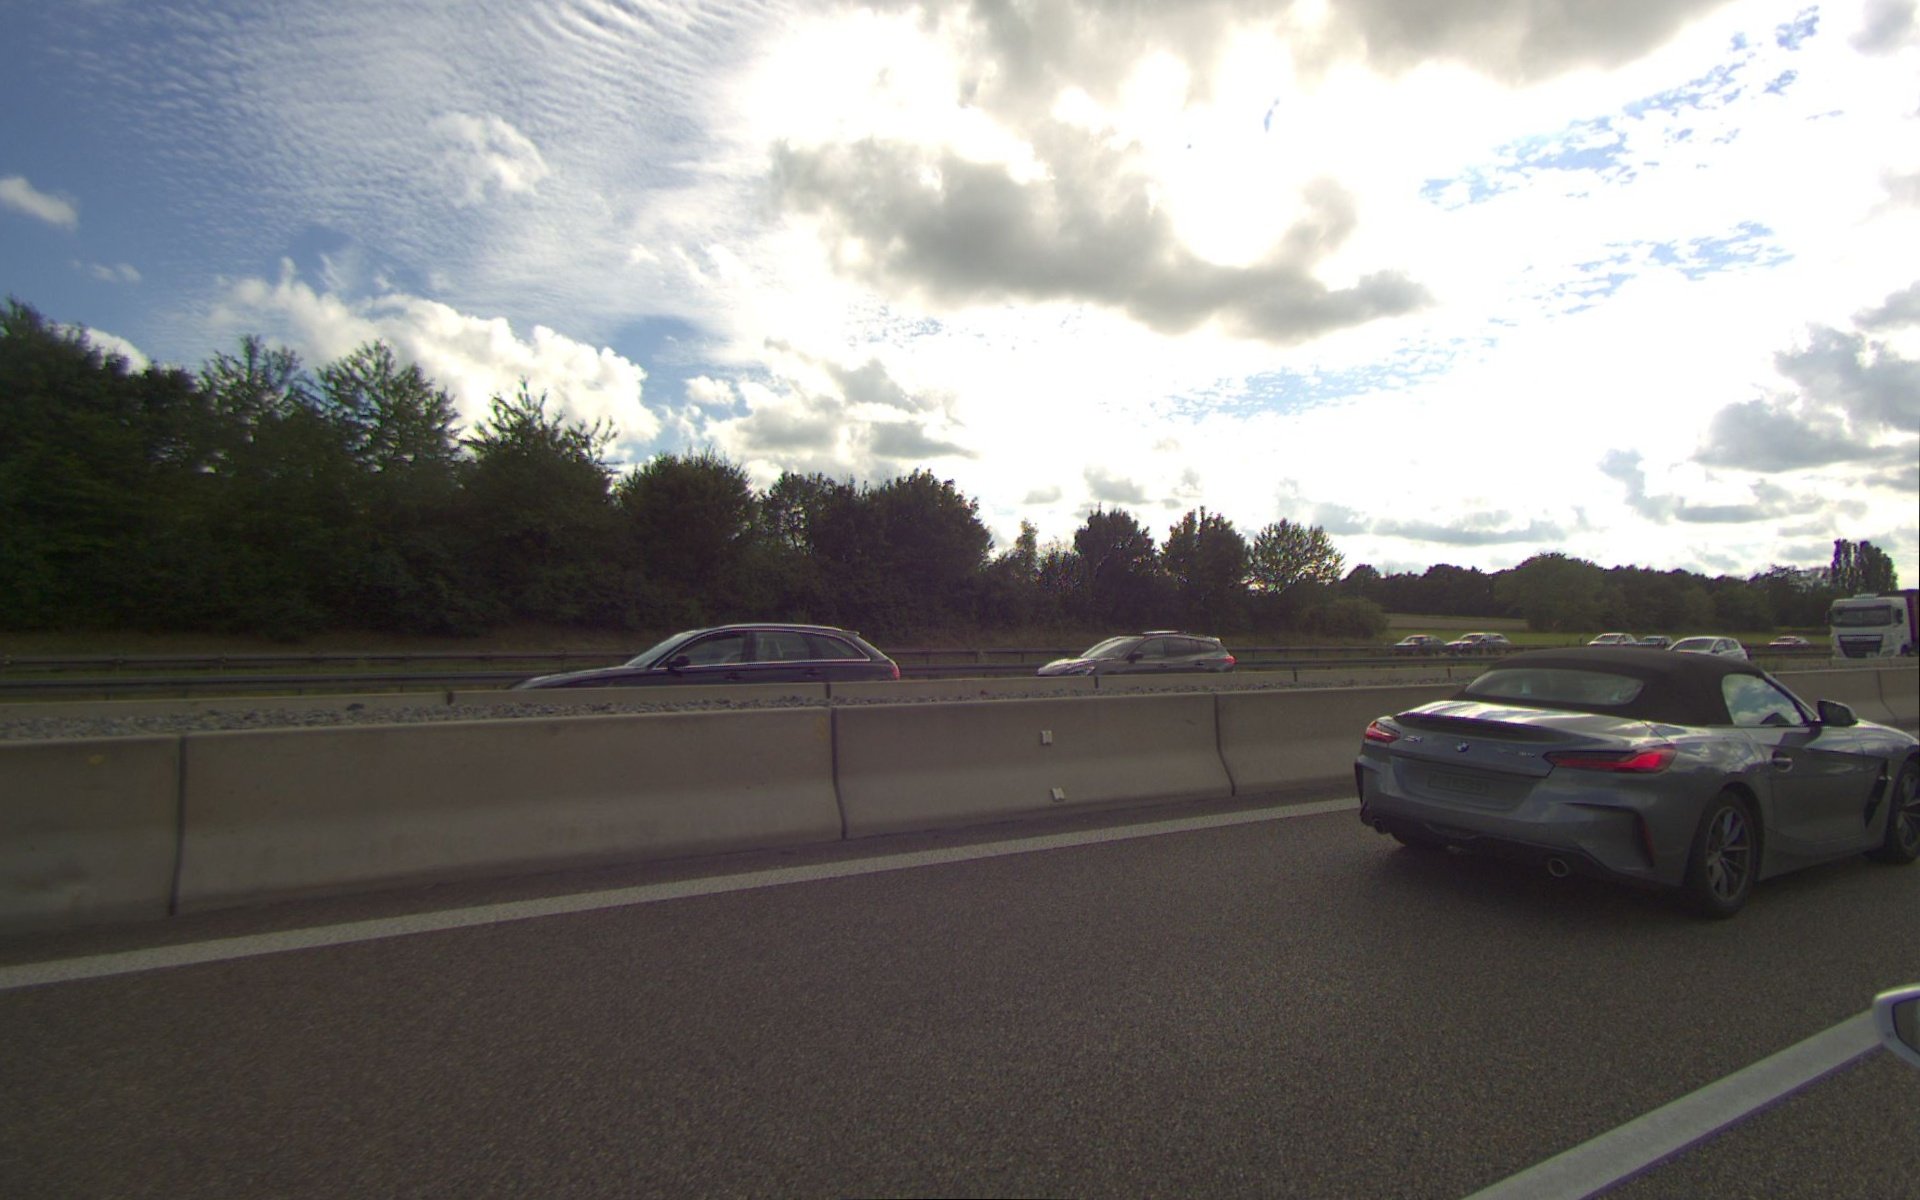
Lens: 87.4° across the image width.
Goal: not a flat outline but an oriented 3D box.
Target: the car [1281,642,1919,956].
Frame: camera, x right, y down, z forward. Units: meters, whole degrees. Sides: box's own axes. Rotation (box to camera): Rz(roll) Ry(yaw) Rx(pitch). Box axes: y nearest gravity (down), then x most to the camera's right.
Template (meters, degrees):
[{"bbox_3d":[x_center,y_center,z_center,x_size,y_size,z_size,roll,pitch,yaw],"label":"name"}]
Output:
[{"bbox_3d":[4.503,0.962,6.492,4.884,1.320,1.864,1,-1,-31],"label":"car"}]

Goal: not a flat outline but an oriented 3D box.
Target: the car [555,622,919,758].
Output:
[{"bbox_3d":[-2.687,0.994,12.295,4.026,1.421,1.749,1,-1,-30],"label":"car"}]

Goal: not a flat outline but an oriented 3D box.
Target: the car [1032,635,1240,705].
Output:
[{"bbox_3d":[3.637,1.373,20.556,4.191,1.301,1.573,1,-1,-30],"label":"car"}]

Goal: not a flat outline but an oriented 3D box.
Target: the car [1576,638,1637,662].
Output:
[{"bbox_3d":[44.446,3.411,69.002,4.400,1.554,1.721,2,-1,-30],"label":"car"}]

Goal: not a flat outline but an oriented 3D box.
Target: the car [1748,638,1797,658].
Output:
[{"bbox_3d":[66.700,3.916,82.474,4.400,1.554,1.721,2,-1,-30],"label":"car"}]

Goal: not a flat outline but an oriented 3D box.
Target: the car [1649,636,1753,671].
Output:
[{"bbox_3d":[27.255,1.935,36.916,4.083,1.208,1.647,1,-2,-31],"label":"car"}]

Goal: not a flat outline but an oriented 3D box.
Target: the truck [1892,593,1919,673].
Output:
[{"bbox_3d":[55.548,1.861,56.021,8.490,4.345,3.031,1,-1,-31],"label":"truck"}]

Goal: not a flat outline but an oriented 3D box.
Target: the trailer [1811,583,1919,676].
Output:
[{"bbox_3d":[47.333,1.528,51.054,10.532,4.345,3.031,1,-1,-31],"label":"trailer"}]

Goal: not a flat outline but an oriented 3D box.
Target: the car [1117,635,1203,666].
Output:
[{"bbox_3d":[10.480,2.637,52.513,4.400,1.554,1.721,2,-1,-30],"label":"car"}]
